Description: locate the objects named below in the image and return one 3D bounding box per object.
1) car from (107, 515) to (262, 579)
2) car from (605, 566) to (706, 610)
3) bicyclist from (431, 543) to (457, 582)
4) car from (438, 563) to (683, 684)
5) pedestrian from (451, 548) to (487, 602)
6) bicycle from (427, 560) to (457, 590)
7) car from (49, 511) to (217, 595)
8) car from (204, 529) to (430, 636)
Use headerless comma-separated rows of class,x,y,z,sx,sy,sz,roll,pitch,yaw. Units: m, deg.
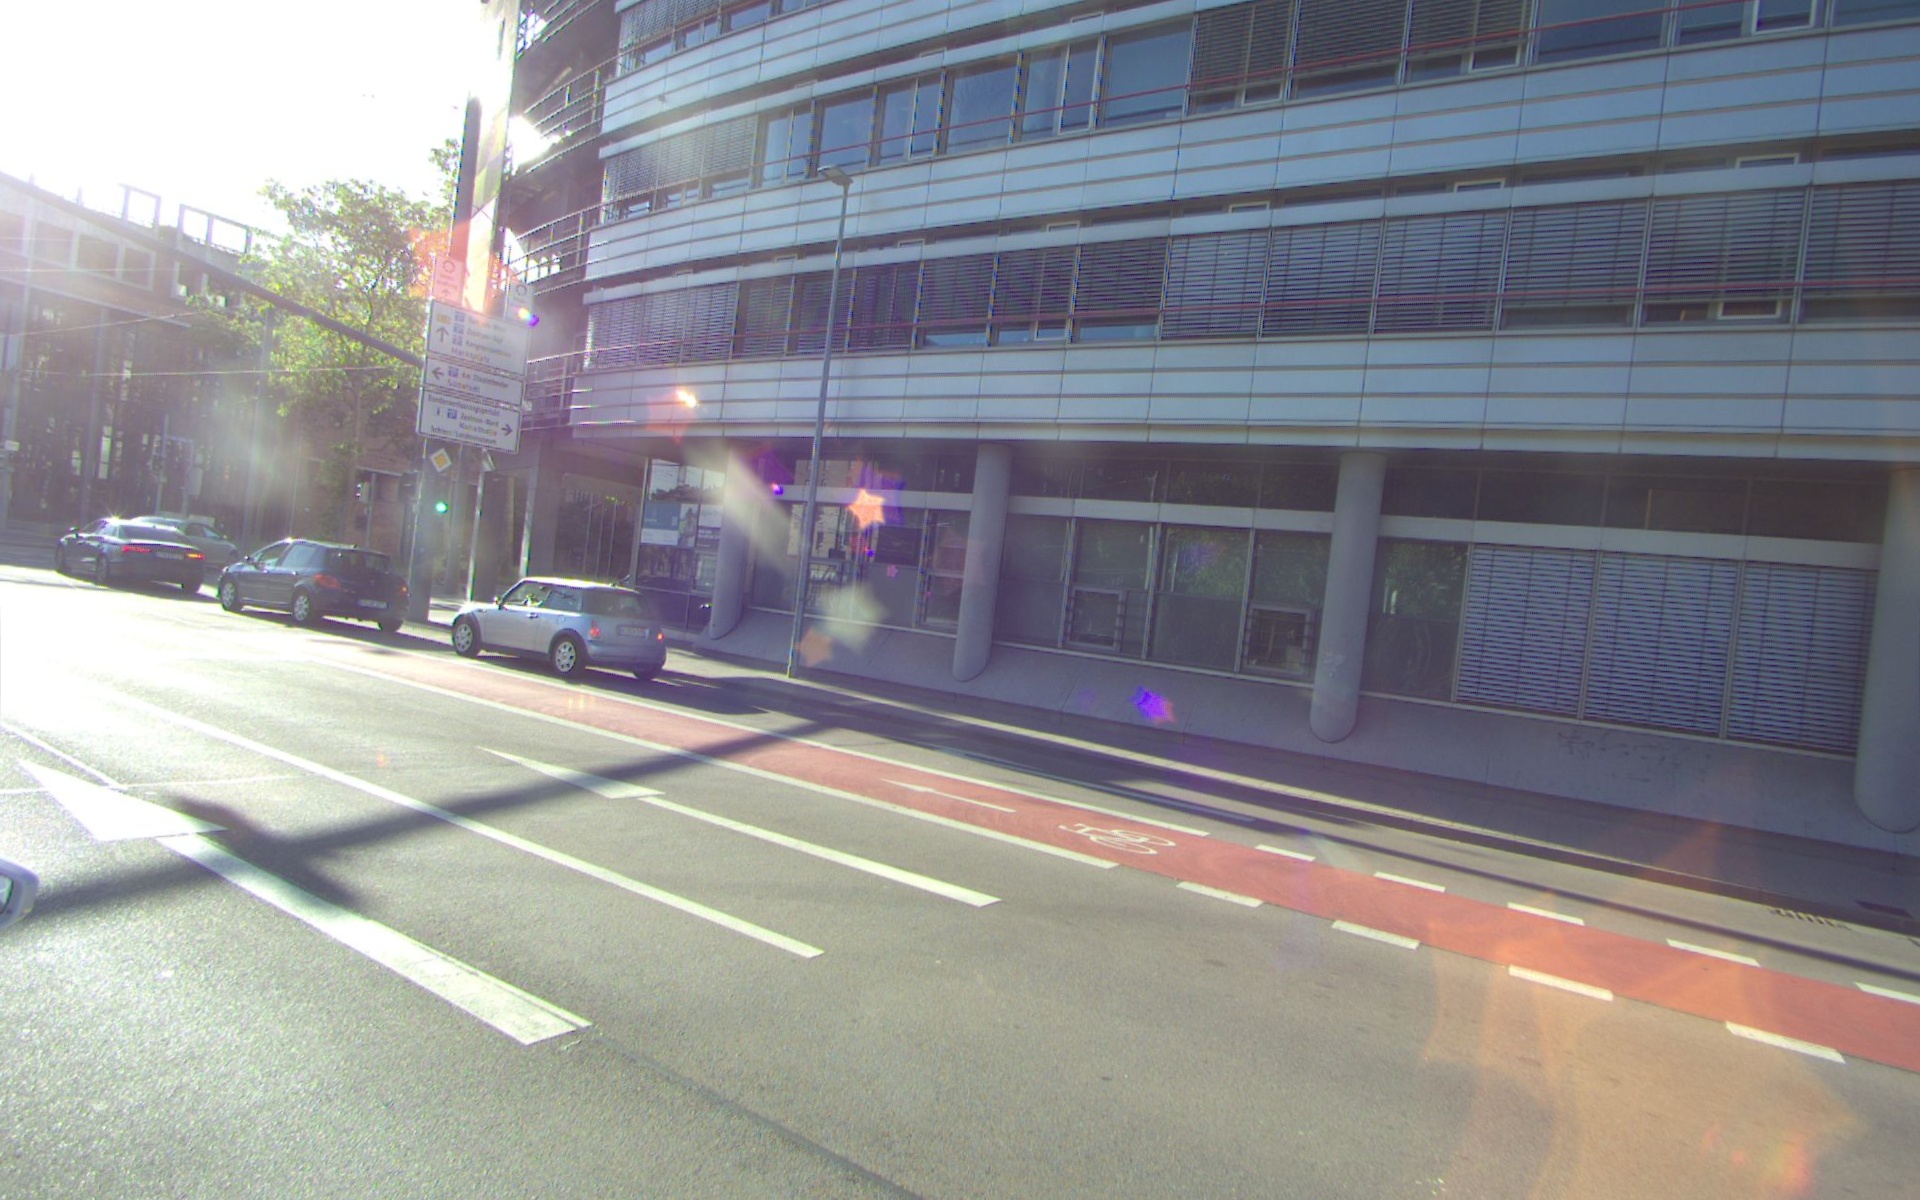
car,-23.108,-1.530,30.187,1.670,1.493,3.979,7,-1,-4
car,-13.544,-0.499,44.913,1.837,1.492,3.968,7,-1,33
bicyclist,-20.342,-1.493,39.668,0.657,1.425,0.811,7,1,-20
car,-6.246,0.357,15.685,3.477,1.405,1.664,6,-1,31
pedestrian,-17.240,-0.869,35.351,0.578,1.754,0.790,6,-1,39
bicycle,-20.425,-1.007,39.721,0.657,1.031,2.174,8,1,-20
car,-18.559,-1.068,22.542,3.953,1.457,1.697,6,-1,33
car,-12.032,-0.335,18.797,3.910,1.493,1.864,7,0,30
